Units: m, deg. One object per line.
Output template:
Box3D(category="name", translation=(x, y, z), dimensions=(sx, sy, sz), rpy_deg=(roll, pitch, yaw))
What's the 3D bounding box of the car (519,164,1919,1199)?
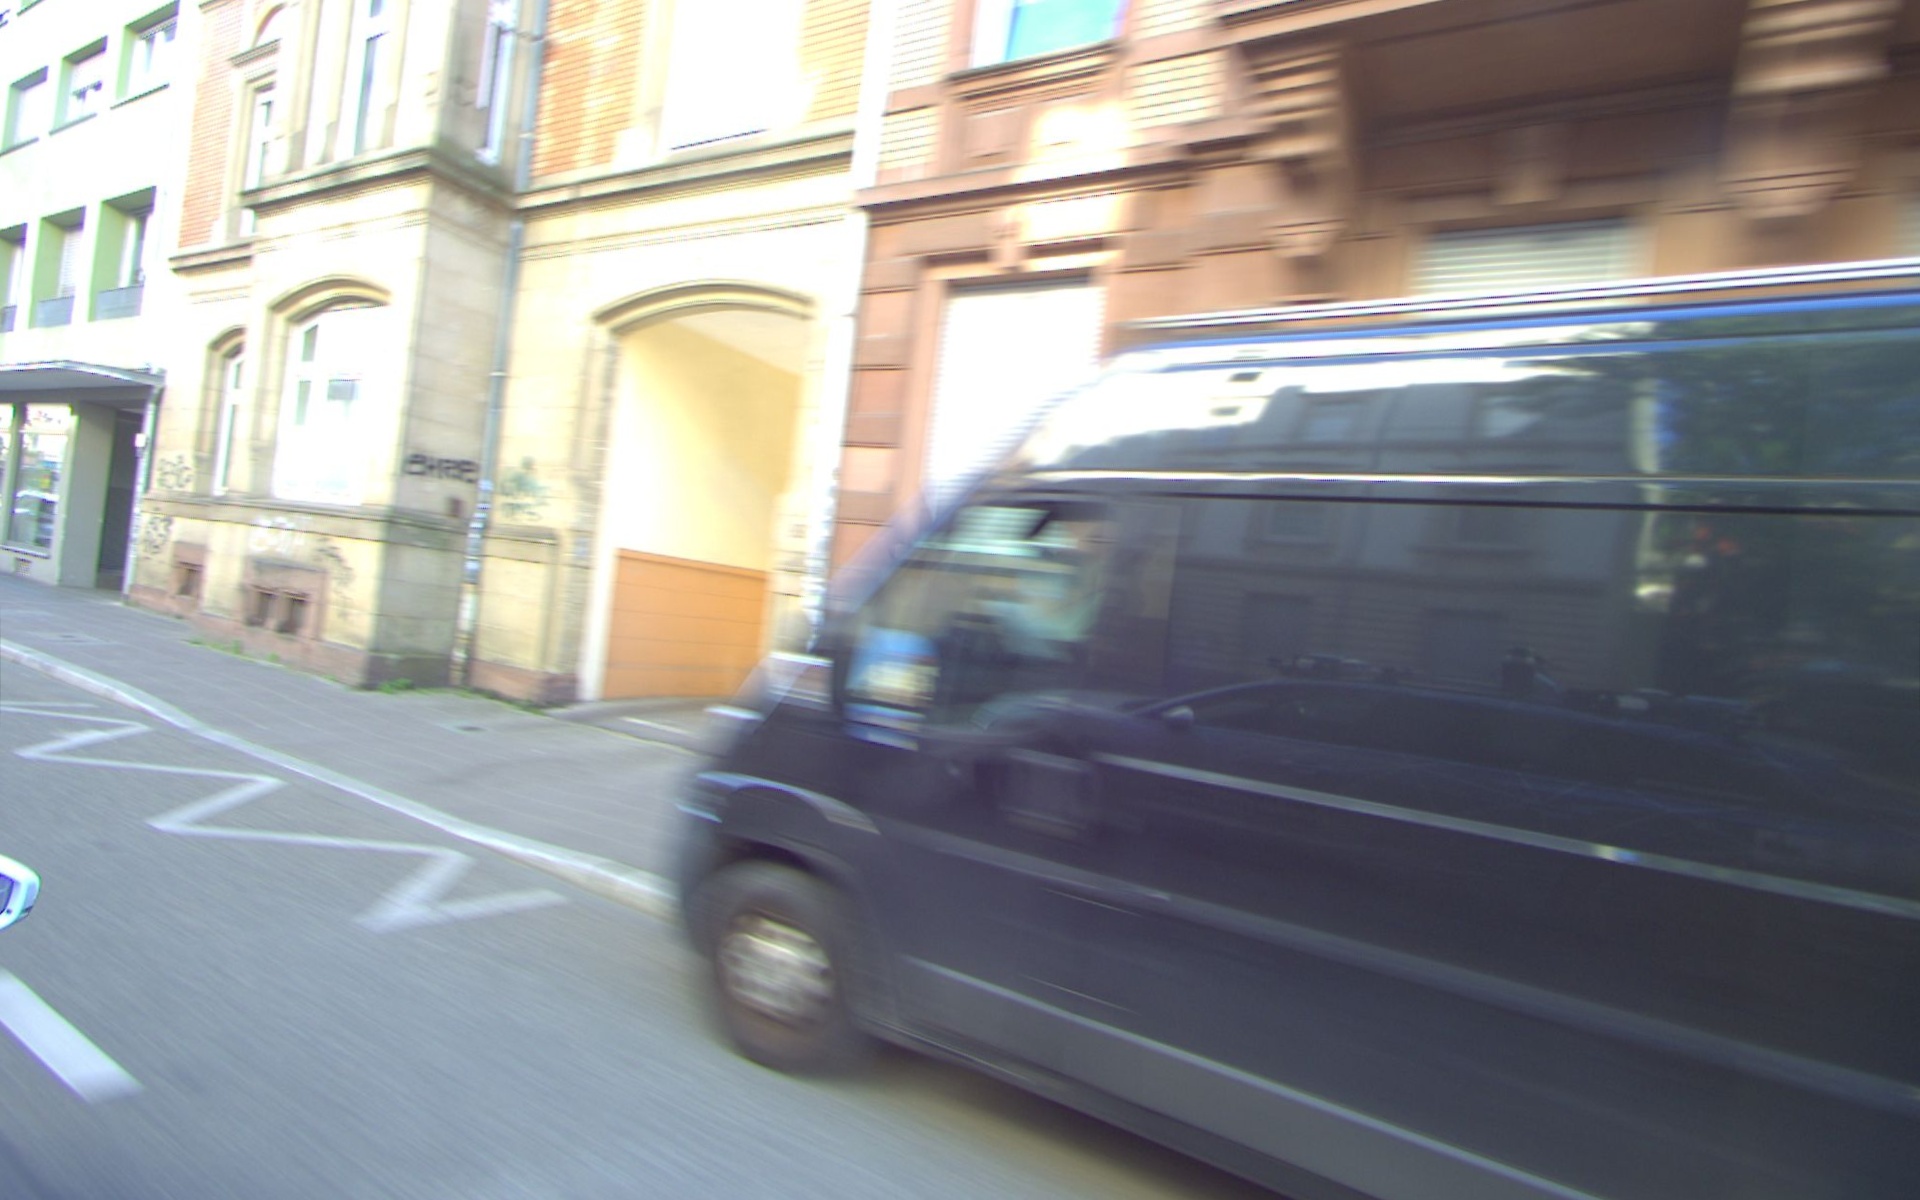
Box3D(category="car", translation=(1.492, 0.562, 2.960), dimensions=(5.762, 2.521, 2.126), rpy_deg=(6, -2, 34))
